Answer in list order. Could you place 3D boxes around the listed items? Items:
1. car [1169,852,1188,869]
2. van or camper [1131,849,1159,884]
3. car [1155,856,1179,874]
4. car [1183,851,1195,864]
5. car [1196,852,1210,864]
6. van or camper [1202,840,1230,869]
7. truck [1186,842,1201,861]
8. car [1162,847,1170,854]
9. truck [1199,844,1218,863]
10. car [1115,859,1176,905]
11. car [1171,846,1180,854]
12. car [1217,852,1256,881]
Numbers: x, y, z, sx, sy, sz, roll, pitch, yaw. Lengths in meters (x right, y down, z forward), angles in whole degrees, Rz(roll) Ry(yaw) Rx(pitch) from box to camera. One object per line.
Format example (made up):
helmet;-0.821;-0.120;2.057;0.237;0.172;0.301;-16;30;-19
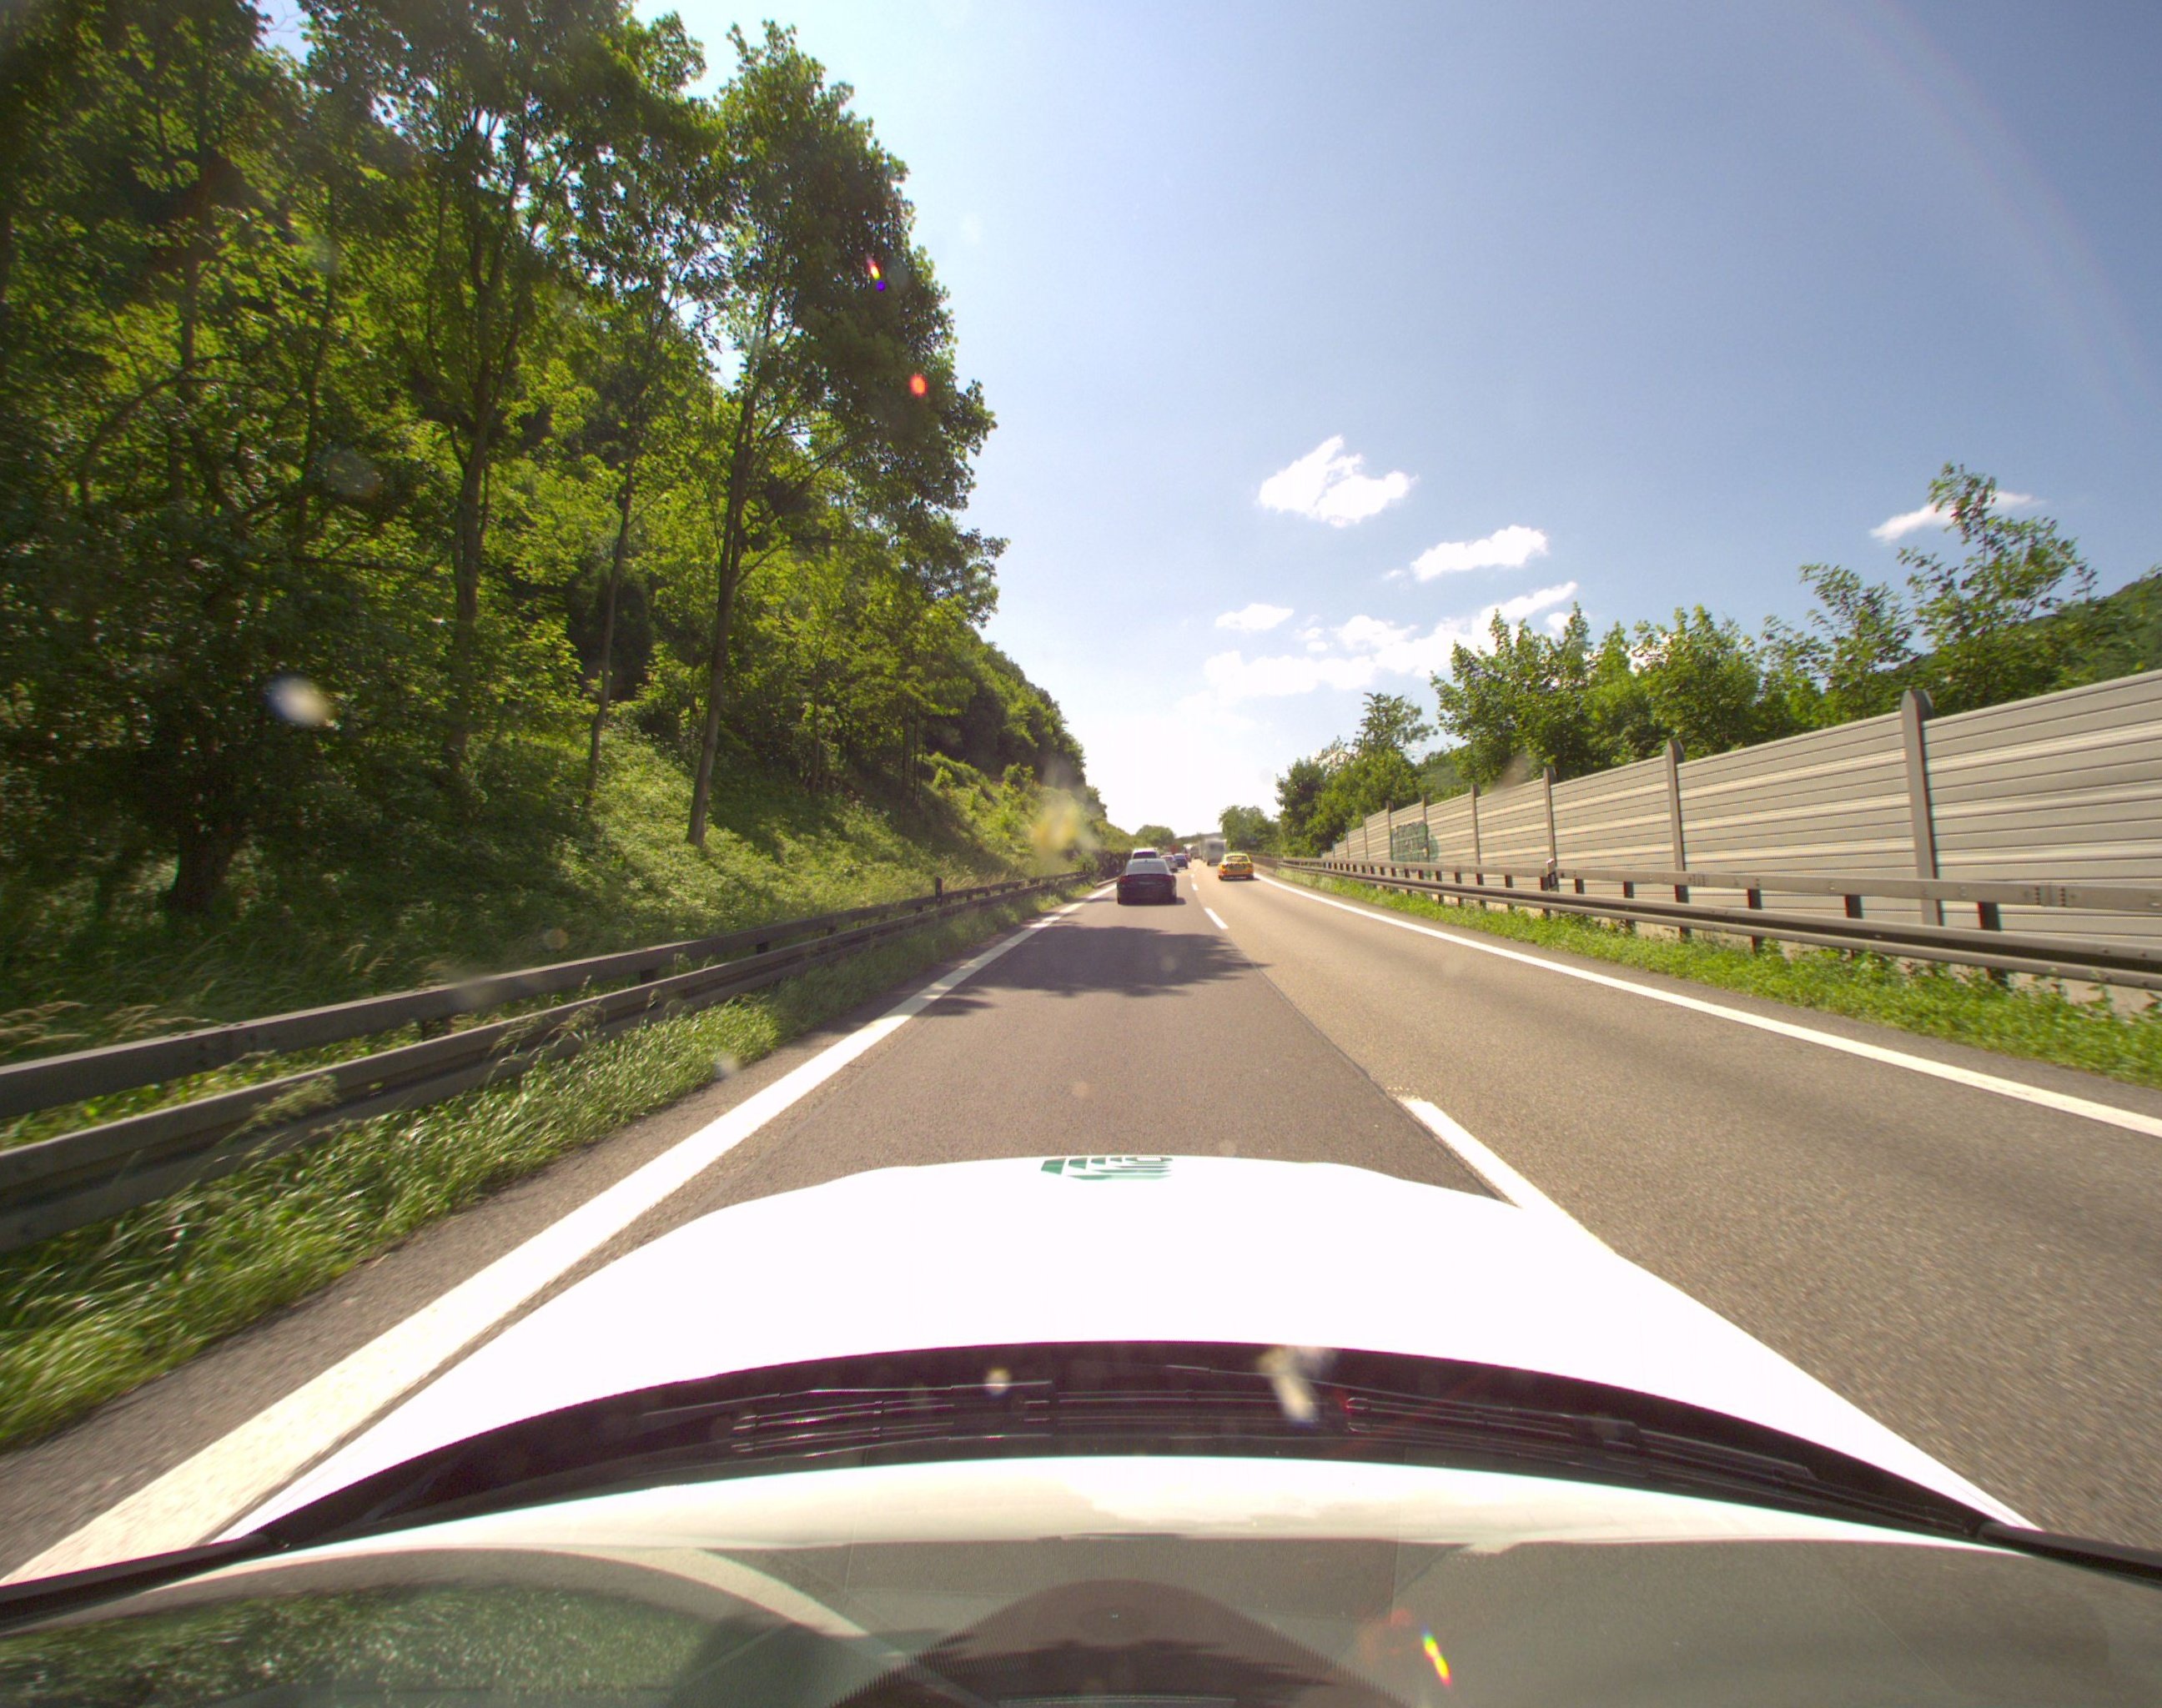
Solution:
car;9.471;0.619;79.364;1.765;1.637;4.006;-1;0;5
van or camper;3.443;0.681;43.822;1.385;1.816;4.004;-1;-1;4
car;7.134;0.956;67.619;1.736;1.431;4.010;-1;-1;9
car;18.115;0.662;136.657;1.982;2.064;4.009;-1;-1;8
car;17.486;0.586;116.738;1.831;1.717;4.009;-1;0;8
van or camper;14.385;0.061;87.070;2.443;2.918;6.135;-1;-1;6
truck;24.649;-0.523;178.954;2.721;4.096;7.487;-1;0;4
car;26.950;-1.037;257.547;1.987;2.013;3.999;-2;0;-1
truck;22.567;-0.102;144.575;2.827;3.131;7.492;-1;0;6
car;2.136;0.896;26.856;1.829;1.349;4.004;-1;-1;4
car;26.889;-1.099;231.843;1.987;2.013;3.999;-2;0;0
car;8.494;0.701;44.799;1.853;1.488;4.008;-1;-1;7
